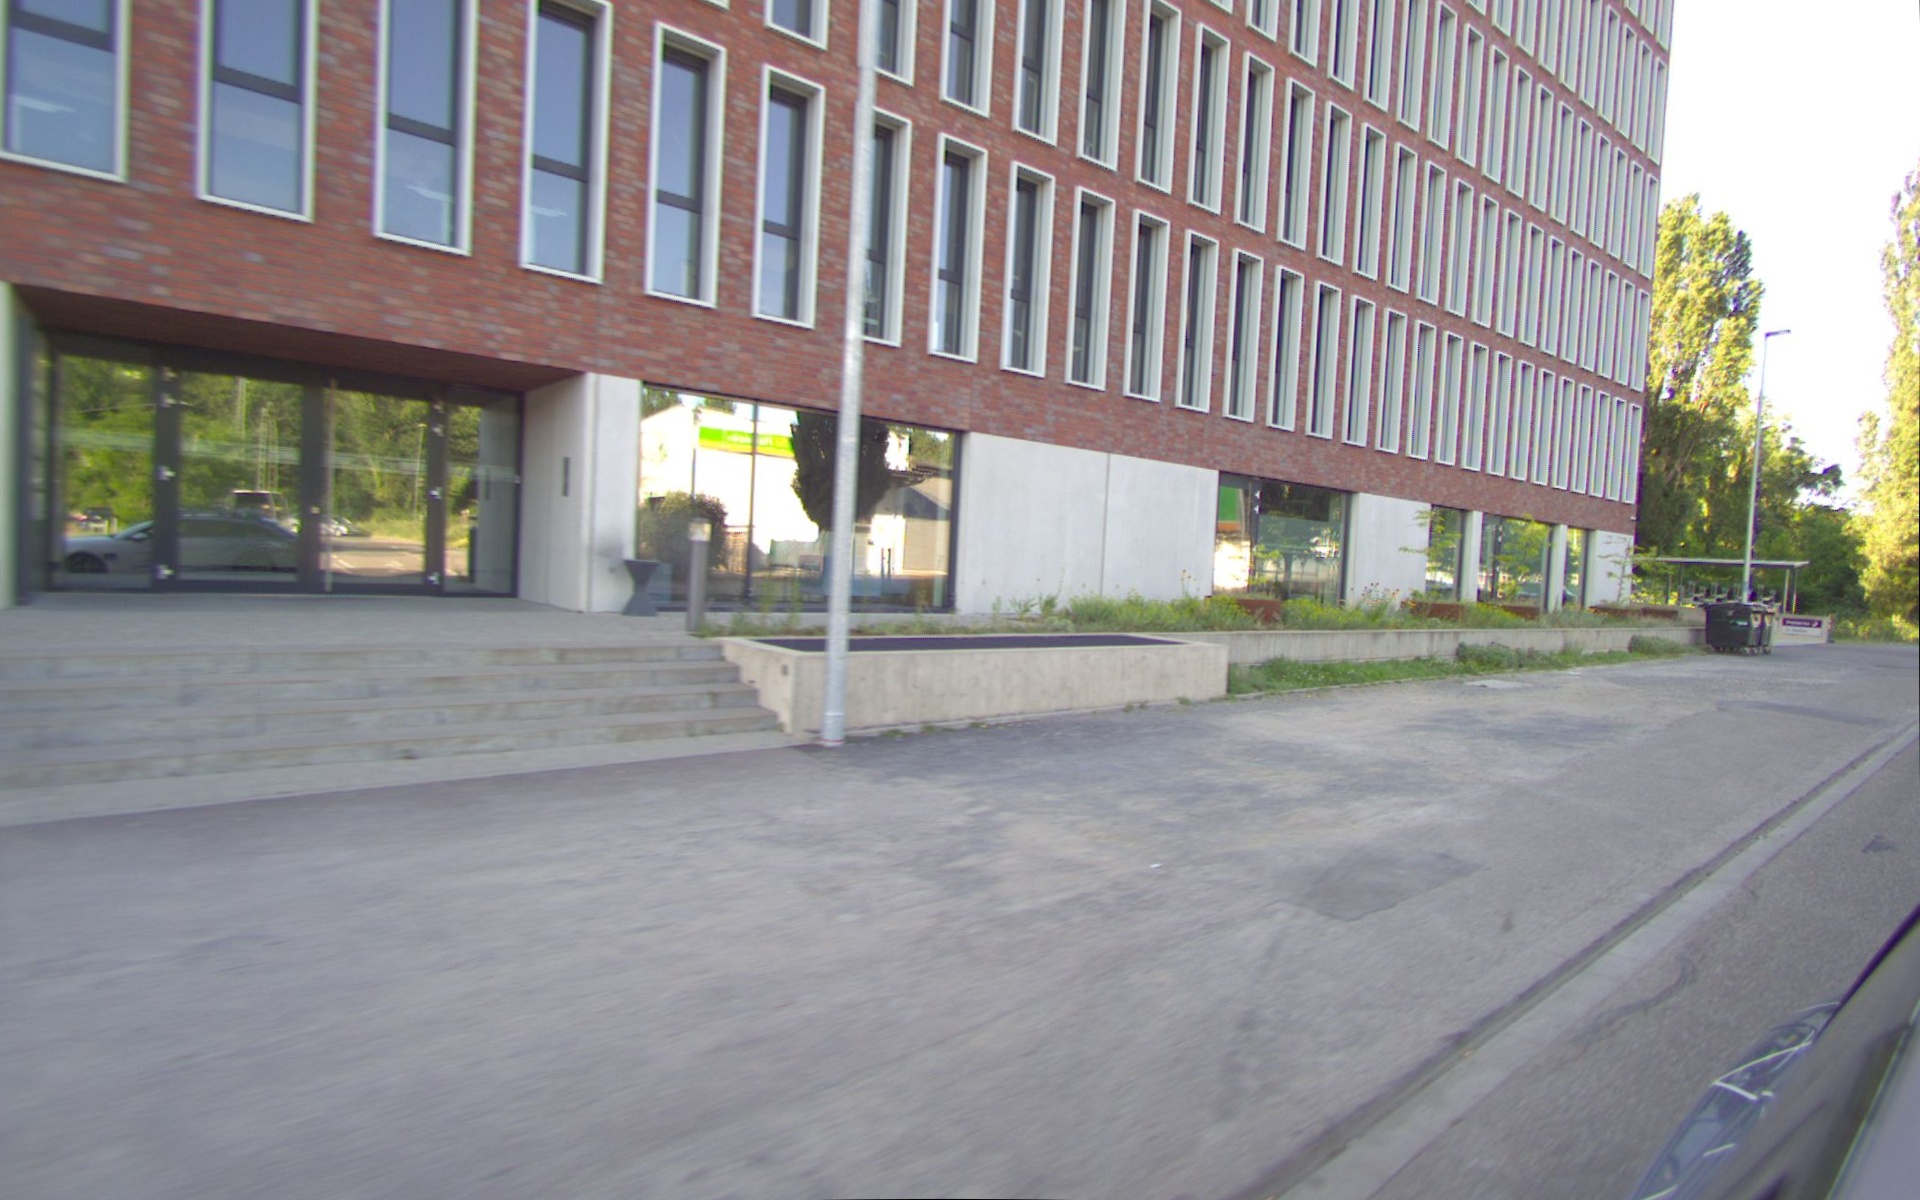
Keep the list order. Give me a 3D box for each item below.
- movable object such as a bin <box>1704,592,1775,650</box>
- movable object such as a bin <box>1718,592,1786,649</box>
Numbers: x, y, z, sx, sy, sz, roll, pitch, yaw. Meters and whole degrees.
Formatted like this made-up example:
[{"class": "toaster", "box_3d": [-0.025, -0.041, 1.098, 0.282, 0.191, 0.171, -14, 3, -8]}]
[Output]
[{"class": "movable object such as a bin", "box_3d": [19.724, 0.511, 25.613, 1.322, 1.352, 1.130, 1, 2, -42]}, {"class": "movable object such as a bin", "box_3d": [20.837, 0.538, 26.613, 1.322, 1.388, 1.130, 1, 2, -42]}]
